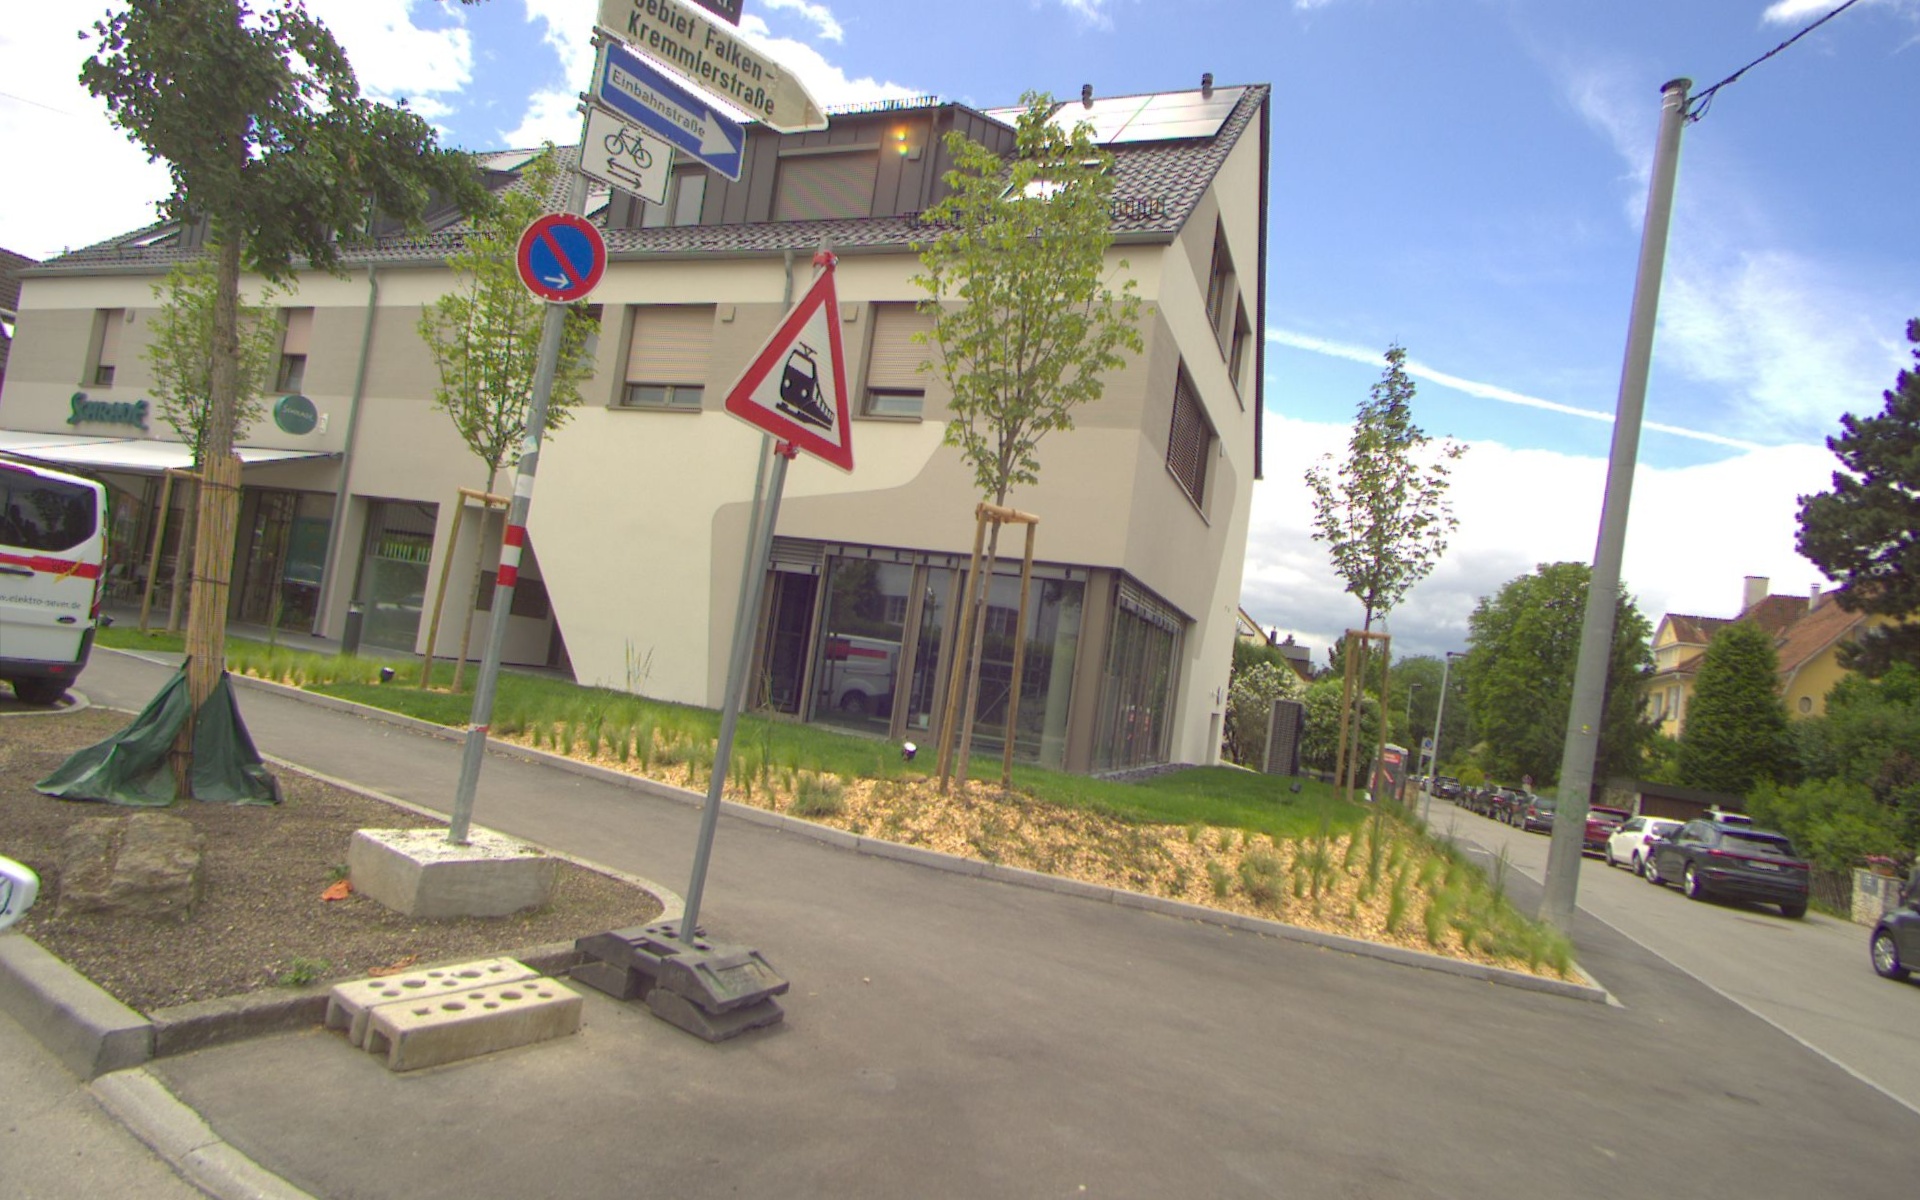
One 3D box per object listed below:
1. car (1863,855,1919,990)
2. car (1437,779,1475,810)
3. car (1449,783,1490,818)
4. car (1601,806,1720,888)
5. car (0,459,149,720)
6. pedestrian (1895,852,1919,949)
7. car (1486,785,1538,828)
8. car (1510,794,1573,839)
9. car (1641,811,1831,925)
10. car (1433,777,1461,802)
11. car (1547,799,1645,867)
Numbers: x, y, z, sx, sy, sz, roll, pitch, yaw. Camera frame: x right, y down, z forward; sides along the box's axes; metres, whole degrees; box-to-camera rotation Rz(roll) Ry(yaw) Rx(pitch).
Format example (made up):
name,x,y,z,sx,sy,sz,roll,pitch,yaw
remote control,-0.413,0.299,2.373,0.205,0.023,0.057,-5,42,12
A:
name,x,y,z,sx,sy,sz,roll,pitch,yaw
car,12.052,3.894,11.194,1.683,1.471,3.544,7,-6,20
car,32.151,12.593,65.231,1.631,1.649,3.777,7,-6,20
car,30.240,11.883,59.792,1.631,1.725,3.469,7,-6,20
car,18.248,6.400,26.349,1.631,1.558,3.355,7,-6,20
car,-9.541,-0.324,8.704,4.817,1.934,1.967,6,-6,28
pedestrian,16.560,5.189,17.282,0.567,1.562,0.545,5,-6,33
car,27.455,10.229,50.126,1.631,1.725,3.469,7,-6,20
car,24.852,9.209,43.074,1.631,1.464,3.469,7,-6,20
car,16.334,5.586,21.463,1.853,1.622,4.357,7,-6,20
car,39.777,15.481,82.226,1.525,1.649,3.244,7,-6,20
car,19.666,7.174,31.257,1.631,1.558,3.906,7,-6,20
